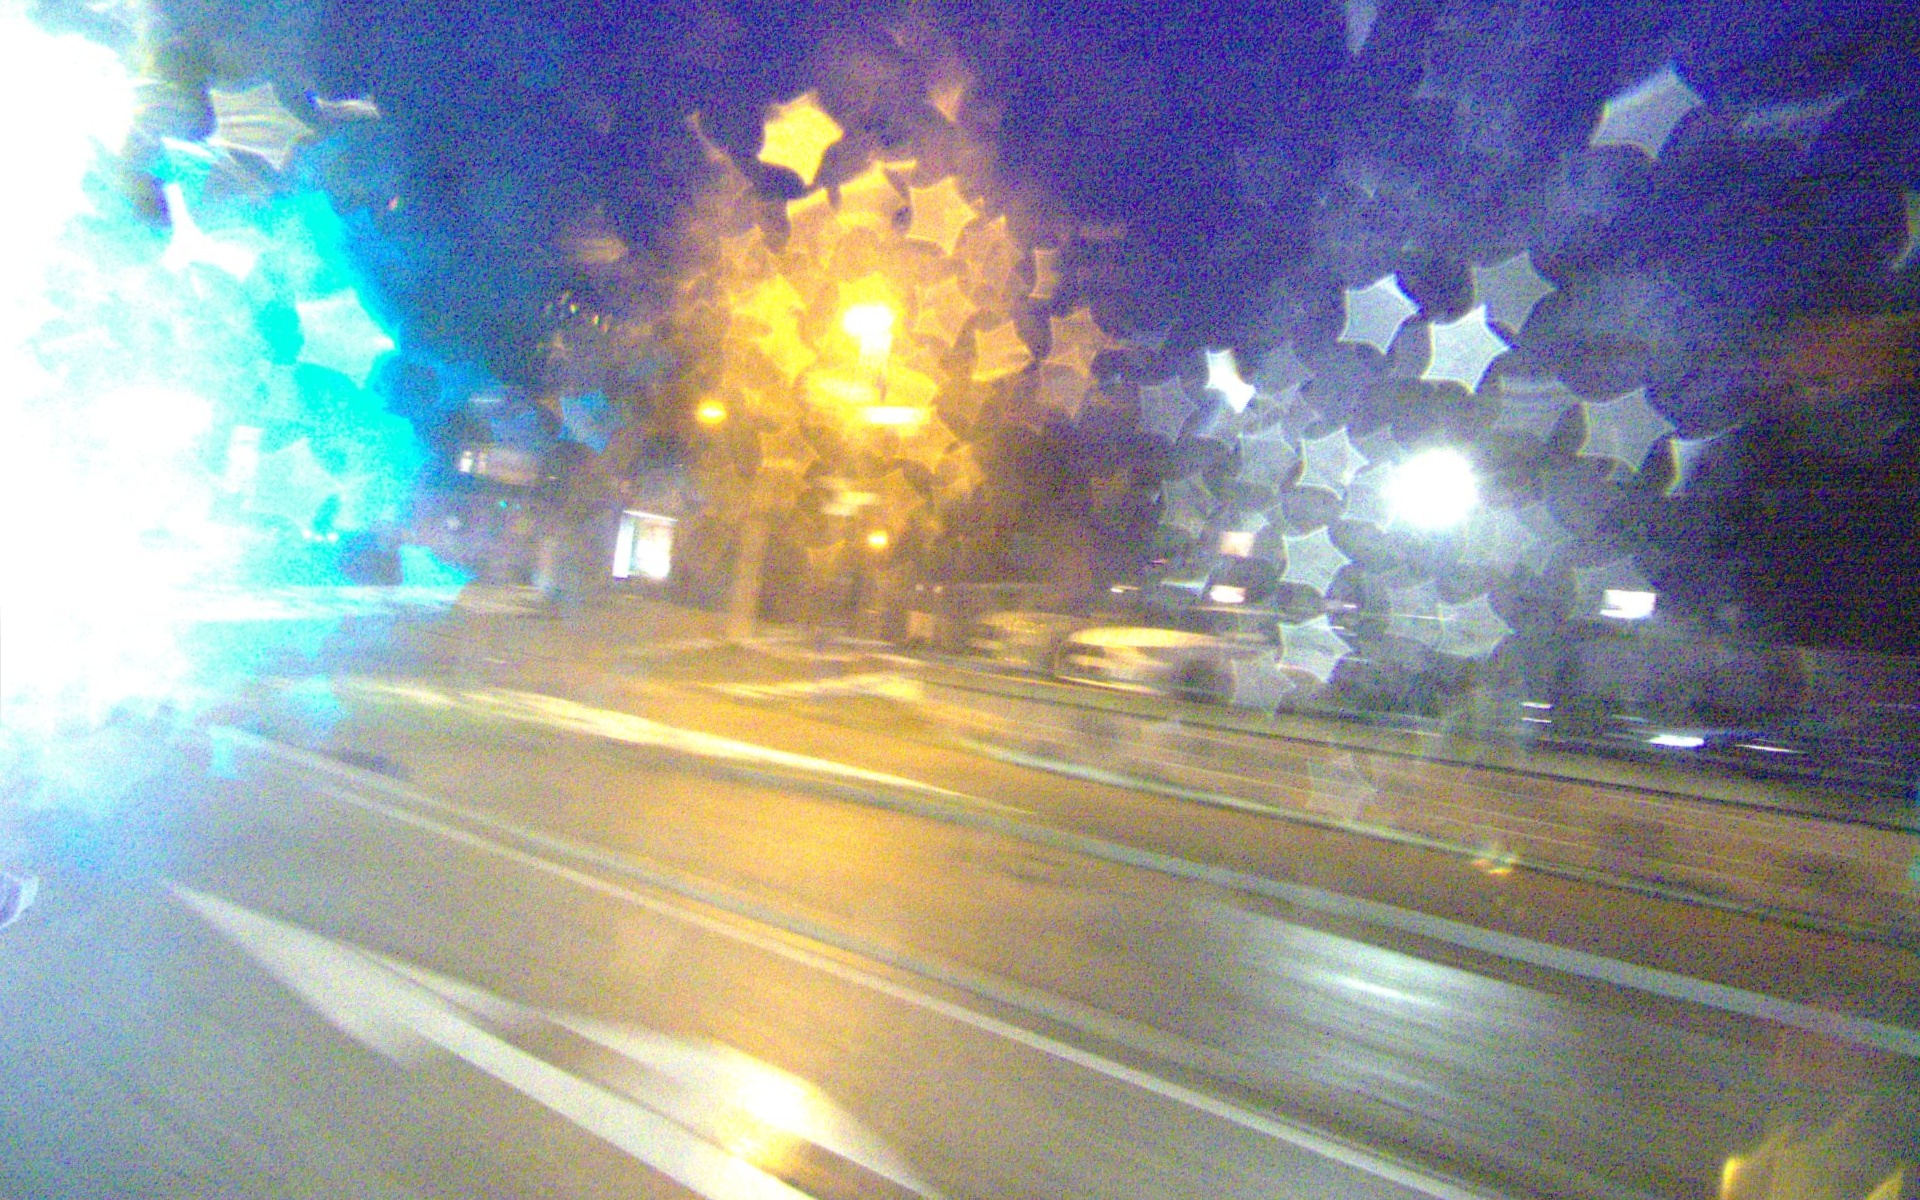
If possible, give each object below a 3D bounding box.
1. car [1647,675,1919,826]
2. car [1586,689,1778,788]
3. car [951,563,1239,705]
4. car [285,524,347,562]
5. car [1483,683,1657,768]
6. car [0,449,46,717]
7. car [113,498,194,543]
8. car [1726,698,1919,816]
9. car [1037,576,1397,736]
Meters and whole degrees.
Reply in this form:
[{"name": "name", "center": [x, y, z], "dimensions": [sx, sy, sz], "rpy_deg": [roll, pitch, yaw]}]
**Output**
[{"name": "car", "center": [11.879, 2.029, 12.922], "dimensions": [1.712, 1.500, 4.662], "rpy_deg": [8, -2, -36]}, {"name": "car", "center": [13.540, 2.613, 18.795], "dimensions": [3.968, 1.399, 1.712], "rpy_deg": [9, -2, -37]}, {"name": "car", "center": [2.052, 0.526, 15.226], "dimensions": [3.843, 1.592, 1.822], "rpy_deg": [8, -2, -27]}, {"name": "car", "center": [-35.289, -3.121, 55.077], "dimensions": [4.015, 1.688, 1.770], "rpy_deg": [6, -2, 43]}, {"name": "car", "center": [12.646, 2.615, 20.778], "dimensions": [3.968, 1.299, 1.644], "rpy_deg": [9, -2, -37]}, {"name": "car", "center": [-8.997, -0.389, 7.482], "dimensions": [4.266, 1.886, 1.856], "rpy_deg": [6, -2, 29]}, {"name": "car", "center": [-37.009, -3.641, 46.135], "dimensions": [3.901, 1.667, 1.864], "rpy_deg": [6, 1, 36]}, {"name": "car", "center": [14.400, 2.573, 16.226], "dimensions": [3.959, 1.446, 1.831], "rpy_deg": [9, -2, -31]}, {"name": "car", "center": [3.369, 0.739, 13.080], "dimensions": [4.291, 1.476, 1.840], "rpy_deg": [9, -2, -27]}]
